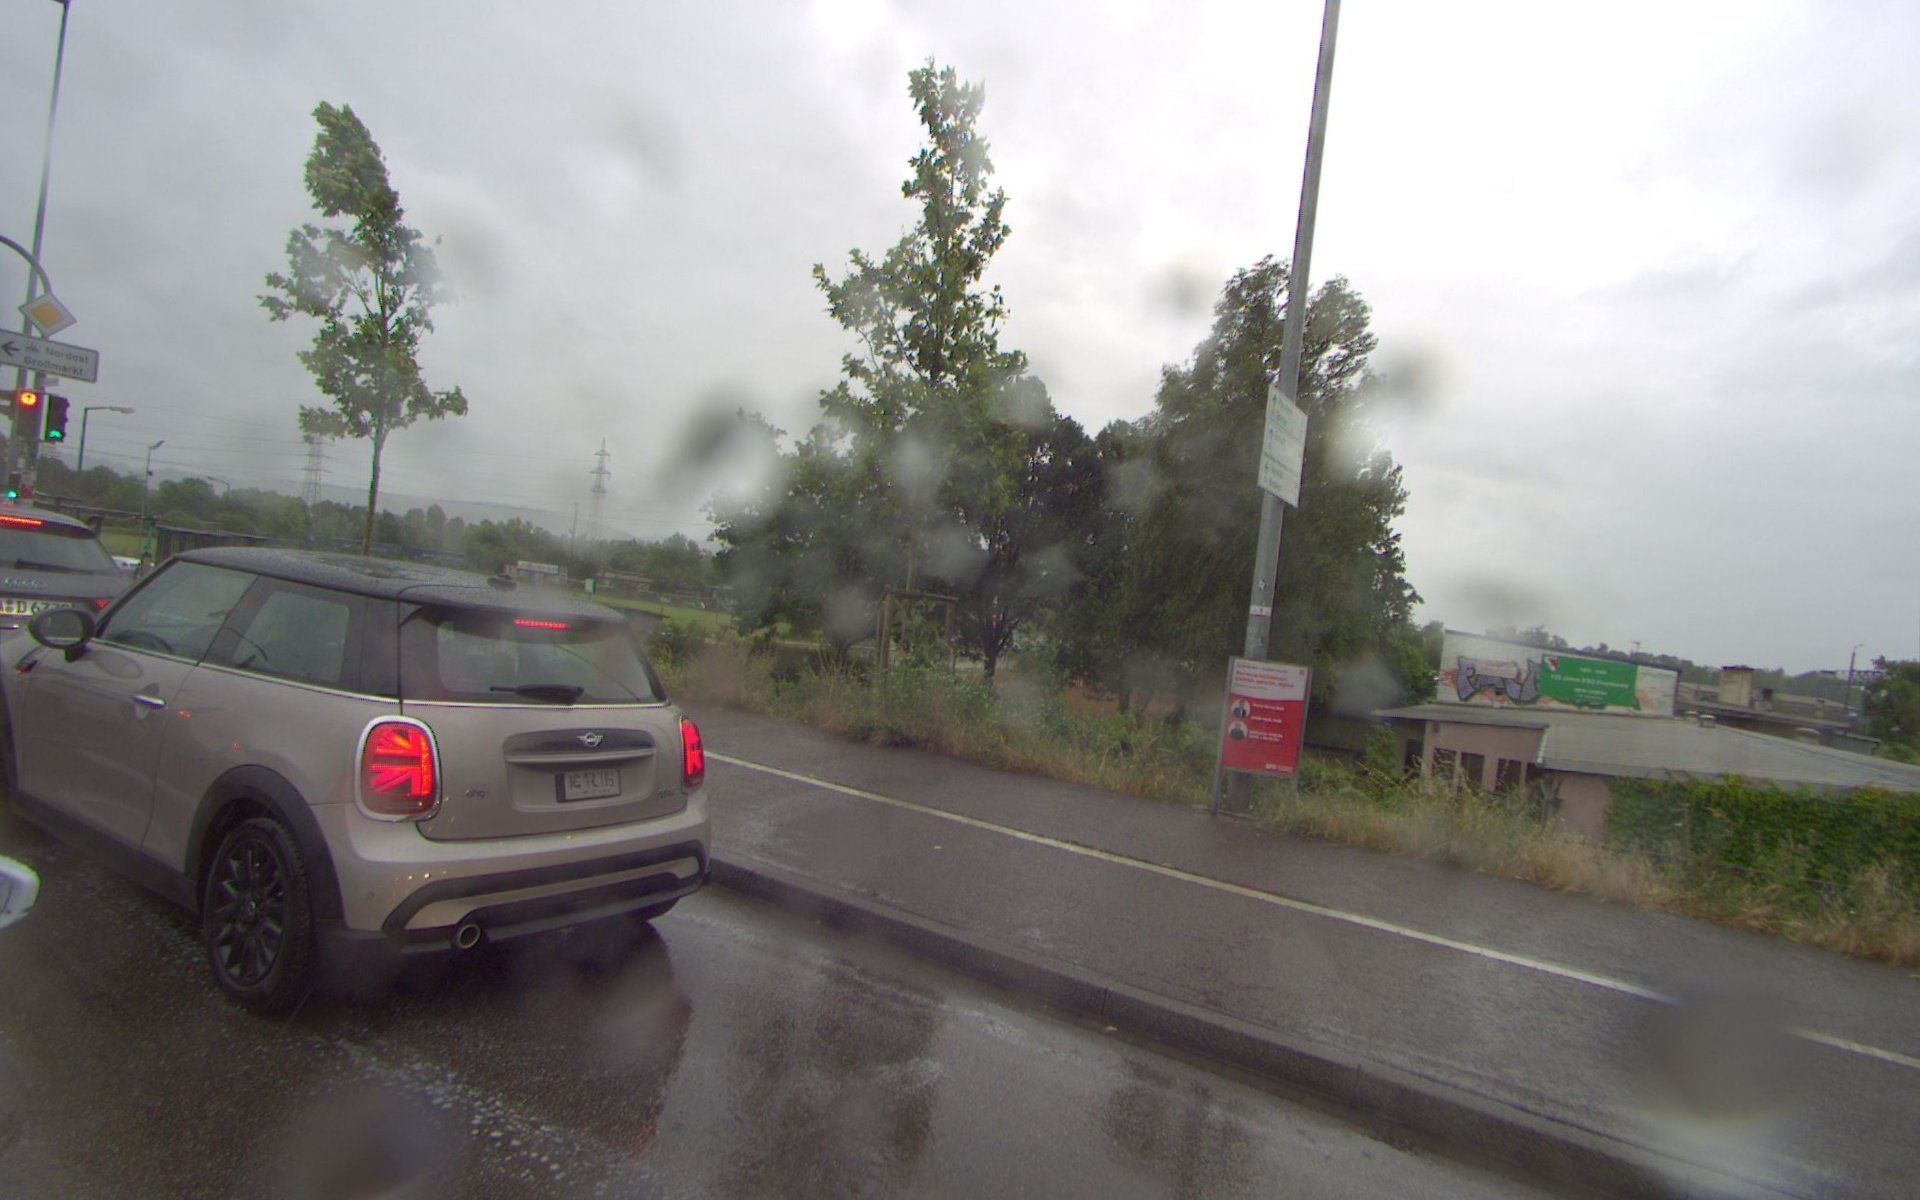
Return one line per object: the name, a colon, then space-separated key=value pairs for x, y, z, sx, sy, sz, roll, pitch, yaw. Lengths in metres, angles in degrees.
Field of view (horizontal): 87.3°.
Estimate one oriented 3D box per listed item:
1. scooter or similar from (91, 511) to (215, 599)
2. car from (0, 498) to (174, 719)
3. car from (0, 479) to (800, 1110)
scooter or similar: x=-13.876 y=-0.795 z=17.260 sx=2.971 sy=1.226 sz=0.691 roll=7 pitch=0 yaw=33
car: x=-7.500 y=-0.080 z=7.240 sx=3.569 sy=1.383 sz=1.600 roll=5 pitch=-1 yaw=30
car: x=-2.794 y=0.466 z=4.312 sx=3.815 sy=1.524 sz=1.707 roll=7 pitch=-4 yaw=32
